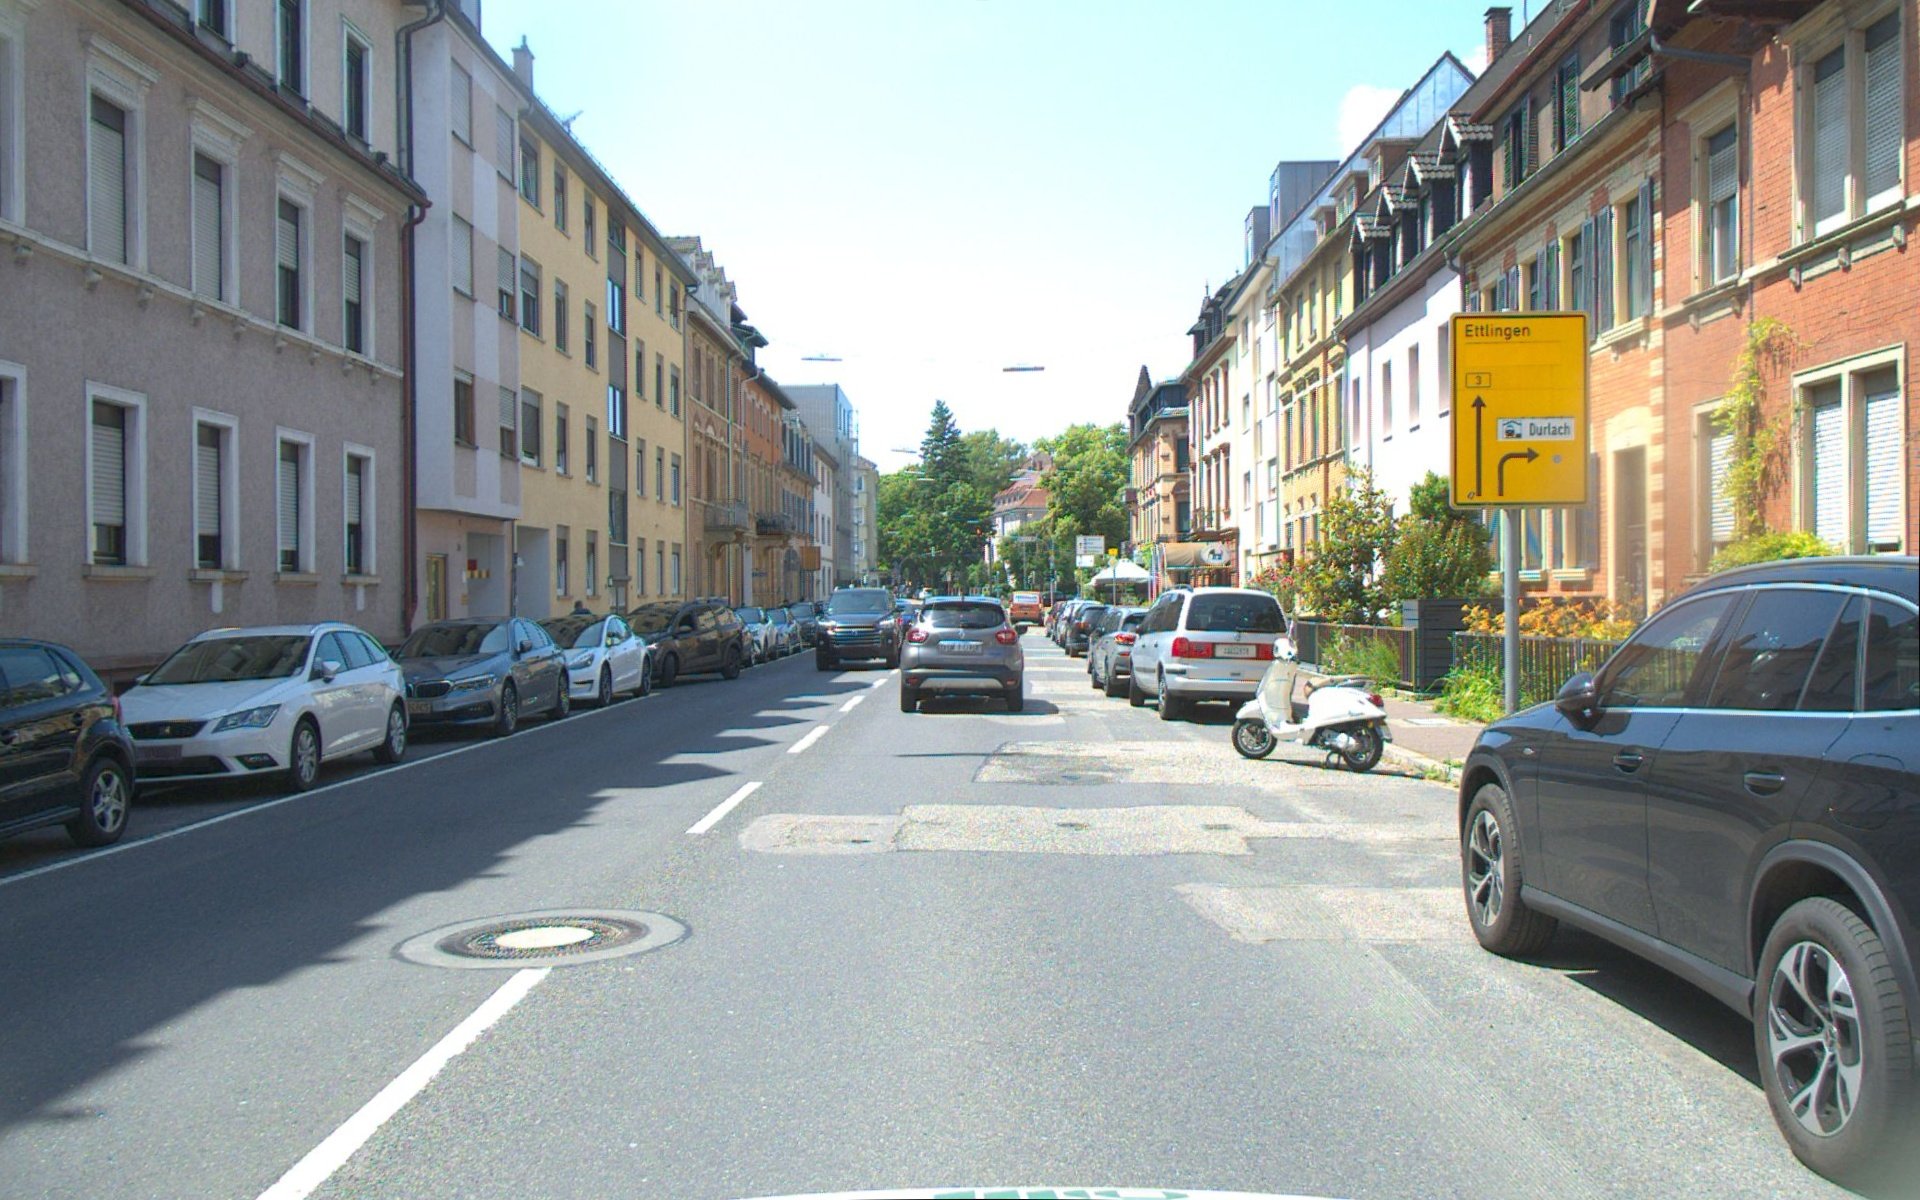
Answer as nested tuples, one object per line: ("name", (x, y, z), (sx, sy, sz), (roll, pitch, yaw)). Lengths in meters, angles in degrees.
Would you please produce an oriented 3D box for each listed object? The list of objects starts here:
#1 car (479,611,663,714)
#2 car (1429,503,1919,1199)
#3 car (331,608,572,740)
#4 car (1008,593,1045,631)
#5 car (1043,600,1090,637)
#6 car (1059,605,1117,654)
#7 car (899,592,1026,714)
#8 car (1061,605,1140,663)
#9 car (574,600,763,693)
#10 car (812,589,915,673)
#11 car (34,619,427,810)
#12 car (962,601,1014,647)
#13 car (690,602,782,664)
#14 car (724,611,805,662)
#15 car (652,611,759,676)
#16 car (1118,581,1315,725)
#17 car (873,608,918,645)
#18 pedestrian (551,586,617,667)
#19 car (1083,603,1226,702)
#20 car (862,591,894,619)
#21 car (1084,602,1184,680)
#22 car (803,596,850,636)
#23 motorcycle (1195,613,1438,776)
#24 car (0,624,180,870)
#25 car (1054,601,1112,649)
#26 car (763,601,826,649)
("car", (-6.303, 0.963, 27.321), (1.802, 1.447, 4.558), (-3, 0, 1))
("car", (3.273, 0.606, 5.753), (1.953, 1.691, 4.625), (-1, 0, 0))
("car", (-6.447, 0.876, 21.539), (1.803, 1.447, 4.644), (-2, 0, -2))
("car", (3.778, 0.661, 93.397), (1.951, 2.049, 4.468), (-1, 0, 4))
("car", (4.355, 0.747, 68.046), (1.579, 1.468, 3.435), (0, 0, -2))
("car", (4.121, 0.933, 53.676), (1.625, 1.466, 4.001), (1, 0, 1))
("car", (0.041, 0.719, 24.202), (1.708, 1.645, 4.000), (0, 0, 0))
("car", (3.909, 0.909, 46.733), (1.822, 1.490, 4.618), (1, 0, 0))
("car", (-5.844, 0.899, 33.786), (1.864, 1.666, 4.560), (-2, 0, 17))
("car", (-2.210, 0.681, 39.279), (1.952, 1.823, 5.149), (-1, 0, 2))
("car", (-6.612, 0.946, 15.603), (1.803, 1.447, 4.500), (-2, 0, -2))
("car", (1.042, 0.912, 63.853), (1.775, 1.649, 4.440), (-2, 0, -1))
("car", (-6.088, 0.861, 45.451), (1.866, 1.536, 4.302), (-2, 0, 0))
("car", (-6.025, 1.102, 51.368), (1.866, 1.425, 4.755), (-2, 0, 0))
("car", (-6.121, 1.008, 40.260), (1.865, 1.403, 4.061), (-2, 0, 1))
("car", (3.465, 0.664, 23.236), (1.823, 1.778, 4.615), (1, 0, -3))
("car", (-2.620, 1.051, 67.448), (1.779, 1.413, 3.998), (-1, 0, -2))
("pedestrian", (-8.351, 0.578, 36.751), (1.127, 1.780, 0.970), (-1, 0, 9))
("car", (3.260, 0.837, 28.522), (1.823, 1.513, 4.308), (1, 0, -1))
("car", (-5.551, 0.314, 112.534), (1.865, 1.853, 4.303), (-1, 0, 2))
("car", (3.695, 0.829, 35.816), (1.661, 1.513, 4.618), (1, 0, 0))
("car", (-5.800, 0.689, 72.178), (1.867, 1.648, 4.299), (-2, 0, -3))
("motorcycle", (3.334, 0.833, 15.511), (1.958, 1.410, 1.108), (0, -1, 38))
("car", (-6.679, 0.955, 9.840), (1.802, 1.447, 4.503), (-4, 0, 1))
("car", (4.260, 0.840, 57.803), (1.822, 1.580, 4.001), (1, 0, 1))
("car", (-6.074, 0.902, 61.194), (1.866, 1.648, 4.302), (-2, 0, 0))
